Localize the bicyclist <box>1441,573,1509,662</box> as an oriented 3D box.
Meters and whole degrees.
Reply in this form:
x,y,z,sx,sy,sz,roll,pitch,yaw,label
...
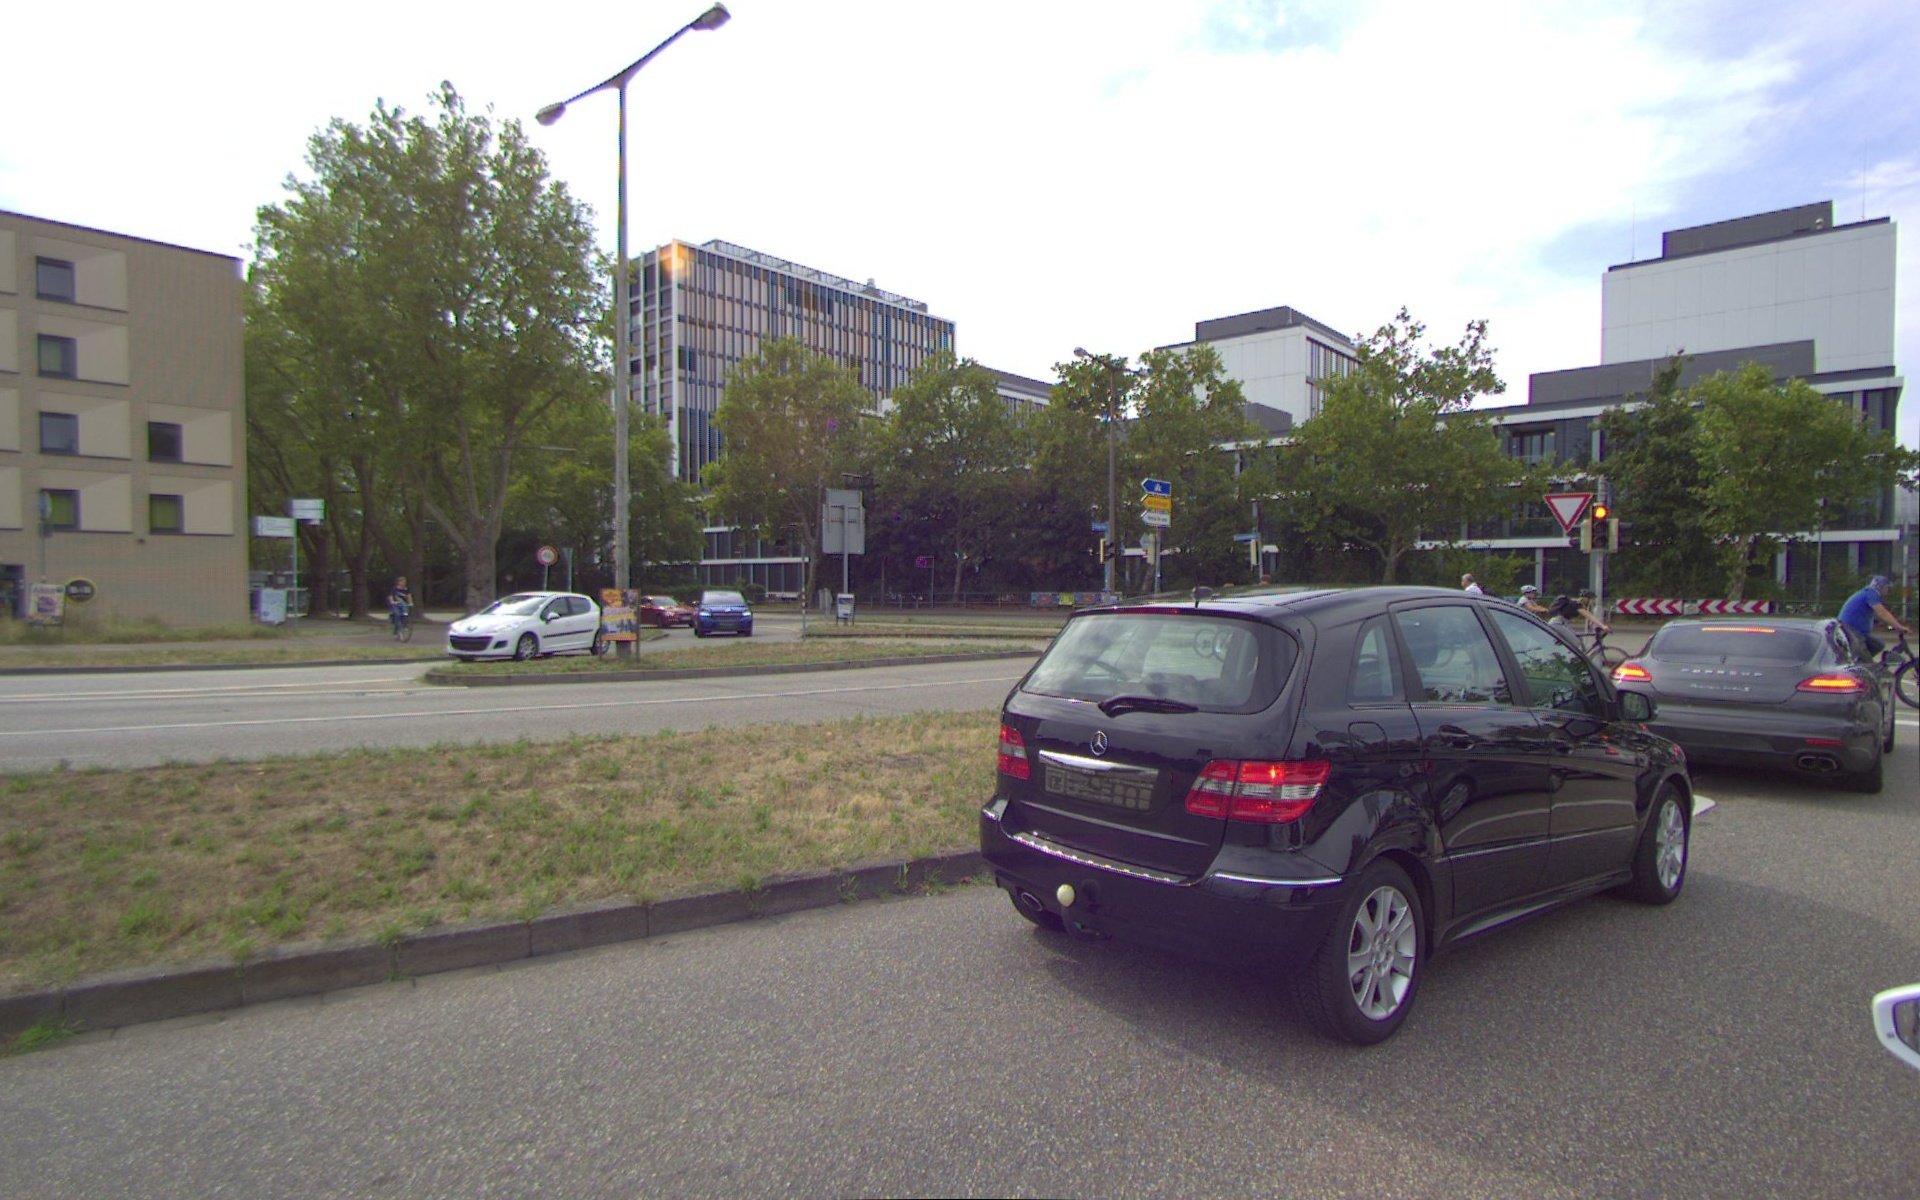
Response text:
x,y,z,sx,sy,sz,roll,pitch,yaw,label
10.336,0.334,20.162,1.097,1.719,0.811,1,1,34,bicyclist

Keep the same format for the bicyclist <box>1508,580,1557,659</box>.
x,y,z,sx,sy,sz,roll,pitch,yaw,label
11.966,0.395,20.988,0.770,1.602,0.651,1,1,41,bicyclist

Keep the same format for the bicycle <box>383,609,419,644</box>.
x,y,z,sx,sy,sz,roll,pitch,yaw,label
-16.034,0.748,28.843,0.731,0.921,2.106,1,0,-24,bicycle

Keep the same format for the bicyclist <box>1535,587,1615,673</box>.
x,y,z,sx,sy,sz,roll,pitch,yaw,label
10.698,0.499,17.483,1.100,1.456,0.644,1,1,40,bicyclist

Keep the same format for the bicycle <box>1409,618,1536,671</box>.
x,y,z,sx,sy,sz,roll,pitch,yaw,label
10.287,0.871,20.194,2.198,0.965,0.809,1,0,34,bicycle

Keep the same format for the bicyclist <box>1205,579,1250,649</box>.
x,y,z,sx,sy,sz,roll,pitch,yaw,label
6.036,0.303,22.685,0.827,1.550,0.627,1,1,33,bicyclist

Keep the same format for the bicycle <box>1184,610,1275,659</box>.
x,y,z,sx,sy,sz,roll,pitch,yaw,label
6.070,0.756,22.673,1.874,1.027,0.627,1,1,33,bicycle

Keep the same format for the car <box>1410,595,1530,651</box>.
x,y,z,sx,sy,sz,roll,pitch,yaw,label
14.110,0.594,27.814,2.678,1.441,1.492,1,1,40,car

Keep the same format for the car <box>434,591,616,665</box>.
x,y,z,sx,sy,sz,roll,pitch,yaw,label
-9.498,0.589,22.298,1.696,1.464,3.878,1,0,13,car

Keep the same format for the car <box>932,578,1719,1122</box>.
x,y,z,sx,sy,sz,roll,pitch,yaw,label
1.979,0.711,4.882,4.000,1.596,1.743,-1,2,-38,car

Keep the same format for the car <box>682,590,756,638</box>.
x,y,z,sx,sy,sz,roll,pitch,yaw,label
-8.631,0.470,35.672,1.921,1.581,4.440,1,0,-22,car

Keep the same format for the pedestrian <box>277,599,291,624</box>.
x,y,z,sx,sy,sz,roll,pitch,yaw,label
-31.755,0.535,47.165,0.498,1.140,0.457,0,1,-41,pedestrian

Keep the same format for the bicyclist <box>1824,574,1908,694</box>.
x,y,z,sx,sy,sz,roll,pitch,yaw,label
13.201,0.478,14.654,0.871,1.678,0.807,1,1,42,bicyclist

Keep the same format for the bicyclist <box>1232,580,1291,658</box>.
x,y,z,sx,sy,sz,roll,pitch,yaw,label
6.172,0.374,20.553,1.003,1.560,0.626,1,1,36,bicyclist

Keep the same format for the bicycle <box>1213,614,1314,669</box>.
x,y,z,sx,sy,sz,roll,pitch,yaw,label
6.194,0.829,20.557,1.876,1.027,0.626,1,1,36,bicycle

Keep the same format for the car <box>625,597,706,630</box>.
x,y,z,sx,sy,sz,roll,pitch,yaw,label
-13.206,0.588,44.913,1.935,1.399,4.164,2,0,-41,car

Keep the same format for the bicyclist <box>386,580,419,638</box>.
x,y,z,sx,sy,sz,roll,pitch,yaw,label
-16.032,0.244,28.901,0.731,1.636,0.915,0,0,-25,bicyclist

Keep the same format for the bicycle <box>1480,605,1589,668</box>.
x,y,z,sx,sy,sz,roll,pitch,yaw,label
11.981,0.734,20.996,1.879,1.226,0.639,1,1,41,bicycle

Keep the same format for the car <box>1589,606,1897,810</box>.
x,y,z,sx,sy,sz,roll,pitch,yaw,label
7.717,0.806,9.692,1.800,1.433,4.746,2,1,44,car

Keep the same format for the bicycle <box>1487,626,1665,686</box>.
x,y,z,sx,sy,sz,roll,pitch,yaw,label
10.680,0.941,17.497,2.553,0.902,0.701,1,1,40,bicycle

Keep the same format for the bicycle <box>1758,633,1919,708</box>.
x,y,z,sx,sy,sz,roll,pitch,yaw,label
13.128,1.008,14.706,2.203,0.965,0.807,1,0,42,bicycle
